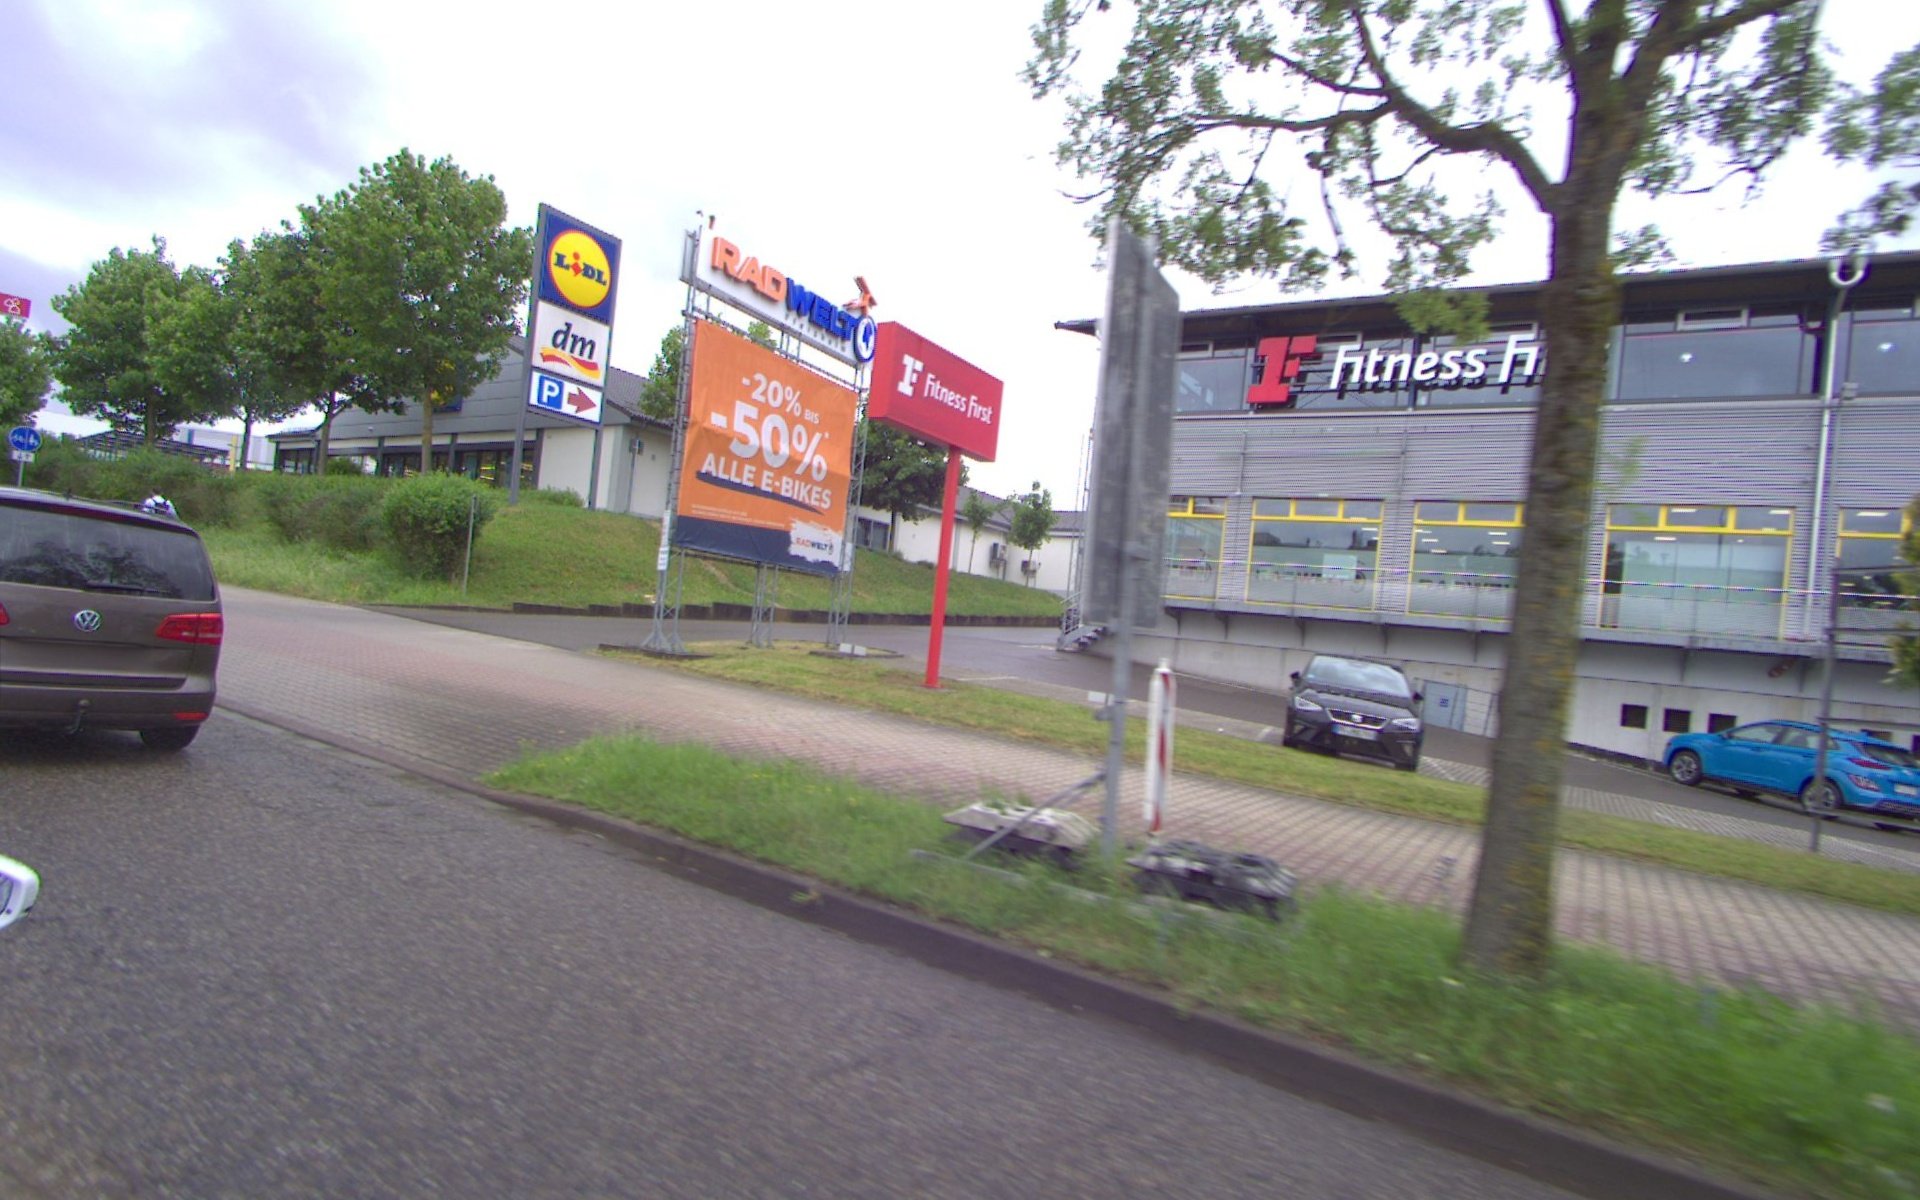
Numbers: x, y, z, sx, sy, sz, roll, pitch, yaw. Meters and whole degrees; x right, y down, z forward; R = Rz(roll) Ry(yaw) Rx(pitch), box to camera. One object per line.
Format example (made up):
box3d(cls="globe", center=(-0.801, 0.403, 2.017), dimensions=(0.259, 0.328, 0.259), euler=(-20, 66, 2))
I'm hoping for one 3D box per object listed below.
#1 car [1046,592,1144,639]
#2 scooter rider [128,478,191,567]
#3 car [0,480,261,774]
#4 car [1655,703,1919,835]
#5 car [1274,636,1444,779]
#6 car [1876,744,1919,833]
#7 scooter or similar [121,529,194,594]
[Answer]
box3d(cls="car", center=(5.052, 0.601, 37.264), dimensions=(1.773, 1.530, 3.982), euler=(6, 2, 37))
box3d(cls="scooter rider", center=(-17.589, -1.700, 22.110), dimensions=(0.843, 1.843, 0.696), euler=(7, 1, 28))
box3d(cls="car", center=(-6.803, -0.022, 6.868), dimensions=(4.148, 1.599, 1.689), euler=(7, -2, 32))
box3d(cls="car", center=(15.369, 3.041, 18.606), dimensions=(1.712, 1.577, 3.903), euler=(9, -1, -10))
box3d(cls="car", center=(5.524, 1.450, 14.363), dimensions=(1.763, 1.455, 4.107), euler=(9, -1, 18))
box3d(cls="car", center=(18.526, 3.627, 17.210), dimensions=(1.711, 1.519, 3.868), euler=(9, -1, -9))
box3d(cls="scooter or similar", center=(-17.639, -0.847, 22.114), dimensions=(1.376, 1.280, 0.696), euler=(7, 1, 28))
